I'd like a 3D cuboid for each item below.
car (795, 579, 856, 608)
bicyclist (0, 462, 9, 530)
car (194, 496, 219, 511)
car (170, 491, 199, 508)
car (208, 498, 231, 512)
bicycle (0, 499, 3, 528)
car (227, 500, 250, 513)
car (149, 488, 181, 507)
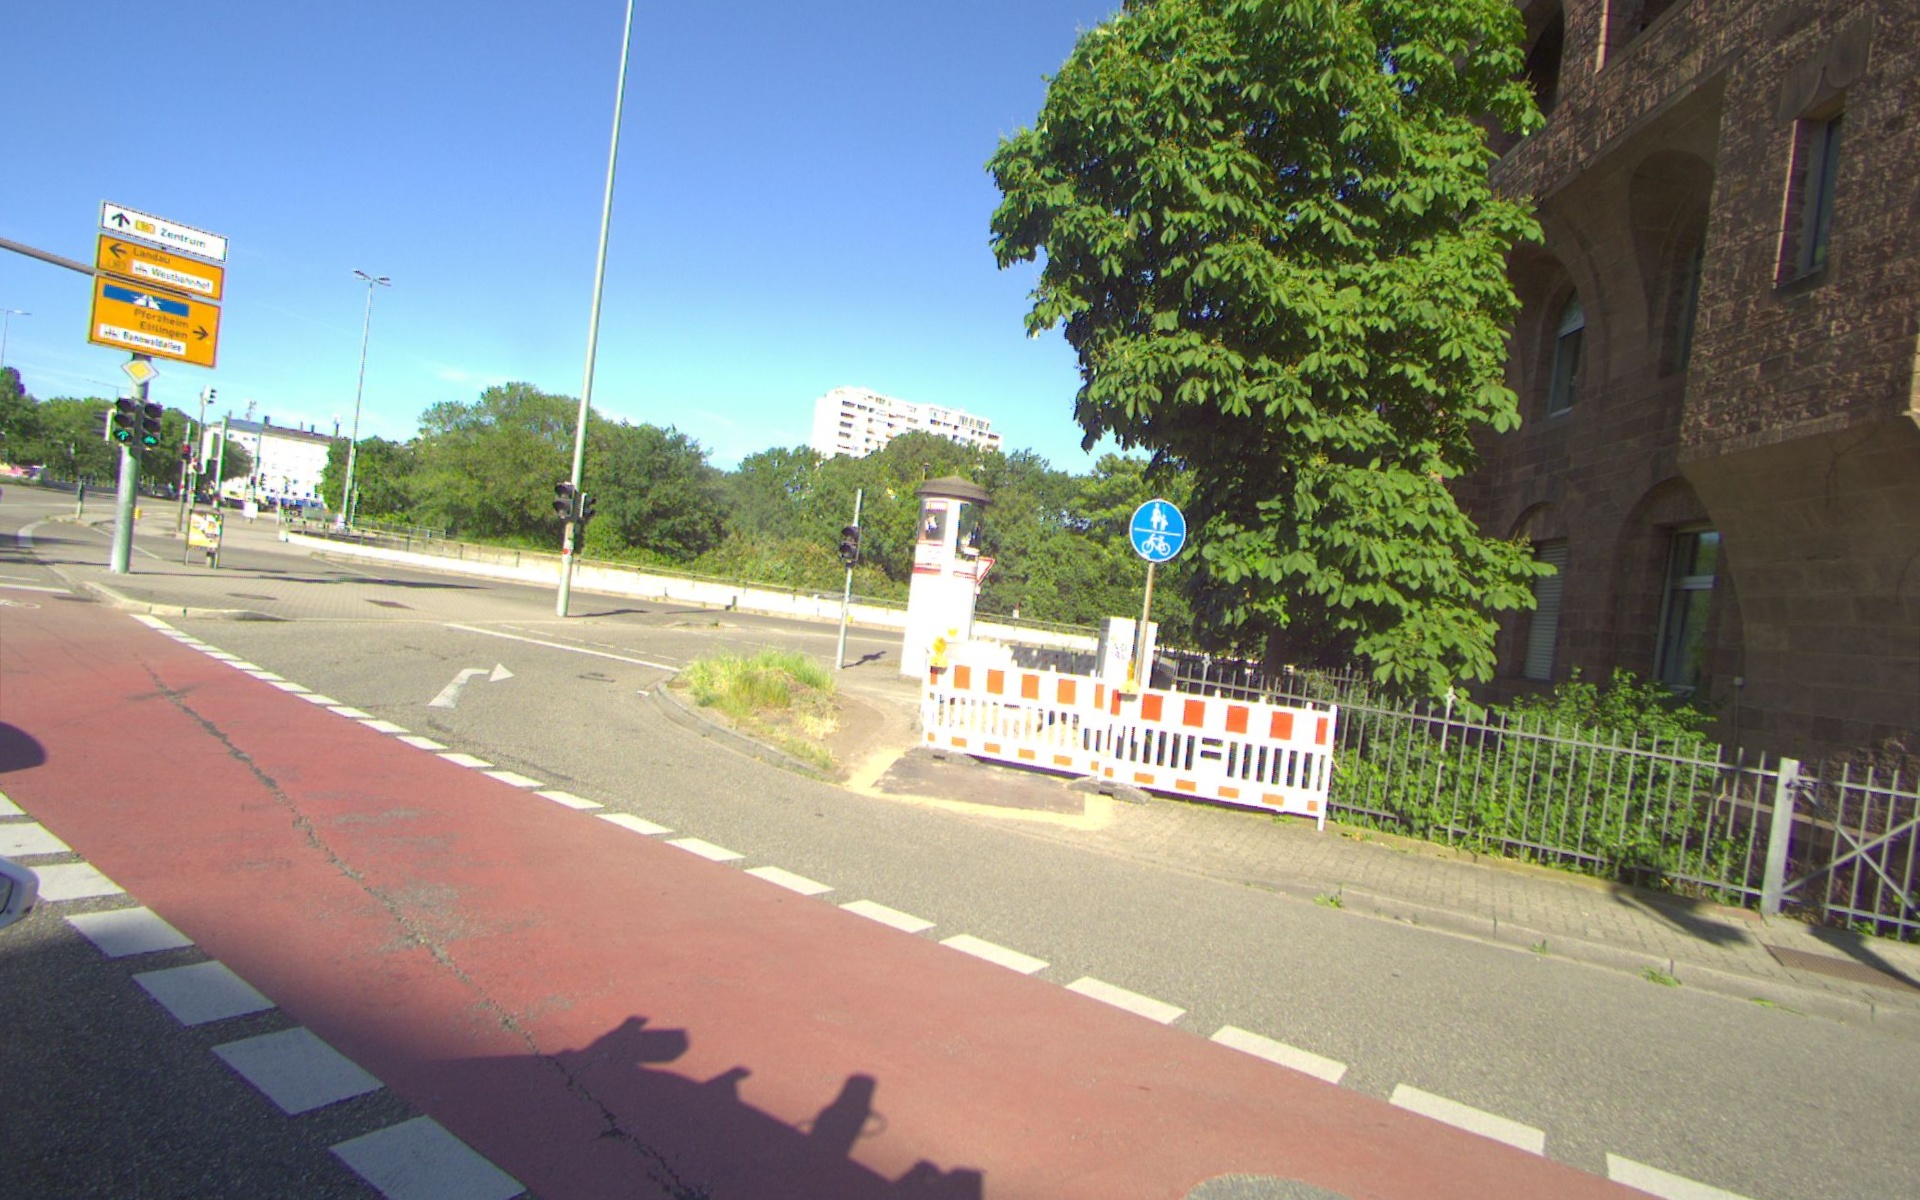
[{"bbox_3d":[-10.317,-0.509,77.202,4.188,1.571,1.851,8,1,-22],"label":"car"},{"bbox_3d":[-16.972,-1.601,17.282,1.098,1.680,0.723,9,1,44],"label":"bicyclist"},{"bbox_3d":[-97.025,-12.455,129.558,1.930,1.547,4.065,7,0,-29],"label":"car"},{"bbox_3d":[-89.181,-11.565,115.700,1.930,1.547,4.066,7,0,-29],"label":"car"},{"bbox_3d":[-103.688,-13.270,140.953,1.930,1.547,4.065,7,0,-29],"label":"car"},{"bbox_3d":[-17.010,-1.232,17.271,1.802,1.115,0.690,8,0,44],"label":"bicycle"},{"bbox_3d":[-115.088,-14.902,160.528,1.925,1.547,4.077,7,0,-21],"label":"car"},{"bbox_3d":[-83.914,-10.803,106.197,1.931,1.547,4.064,7,0,-30],"label":"car"}]
